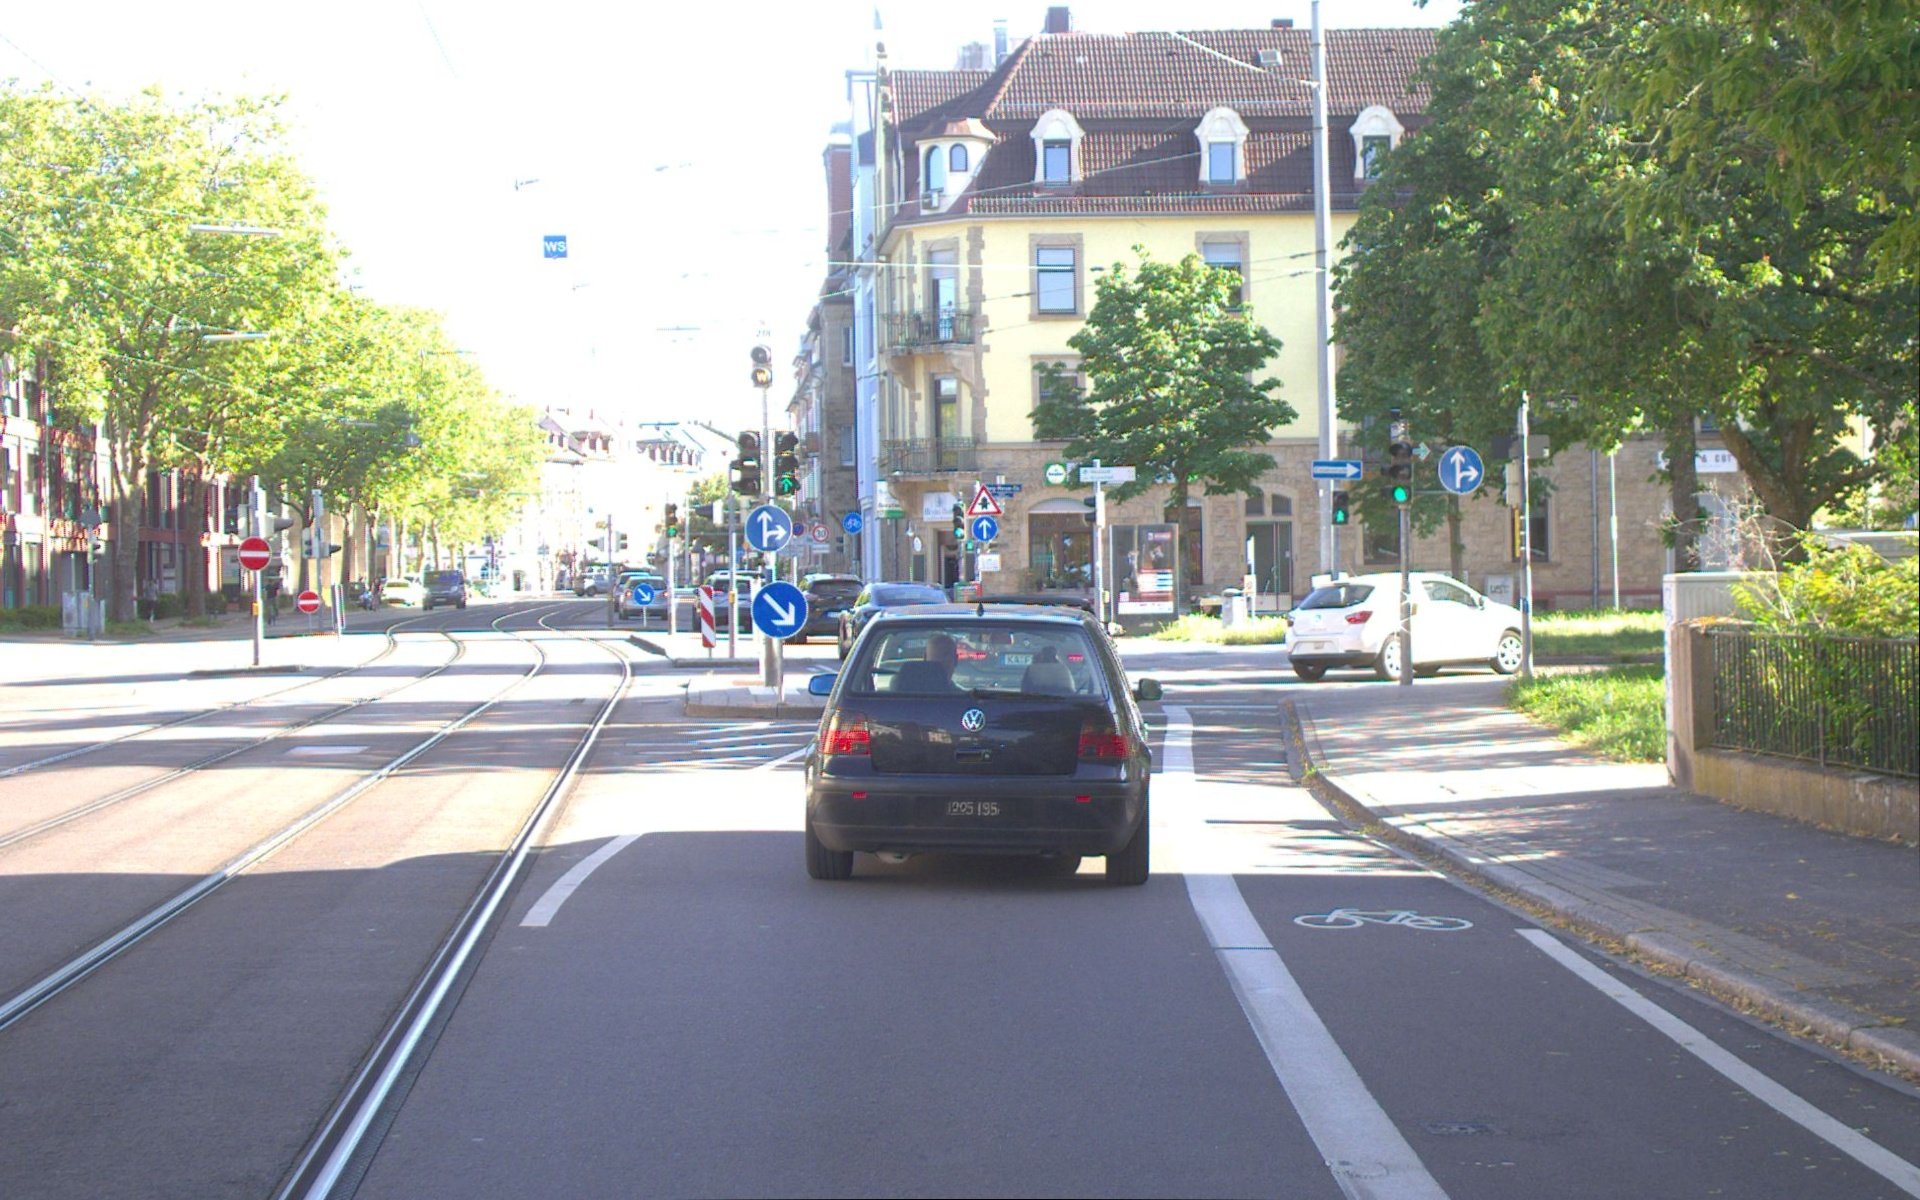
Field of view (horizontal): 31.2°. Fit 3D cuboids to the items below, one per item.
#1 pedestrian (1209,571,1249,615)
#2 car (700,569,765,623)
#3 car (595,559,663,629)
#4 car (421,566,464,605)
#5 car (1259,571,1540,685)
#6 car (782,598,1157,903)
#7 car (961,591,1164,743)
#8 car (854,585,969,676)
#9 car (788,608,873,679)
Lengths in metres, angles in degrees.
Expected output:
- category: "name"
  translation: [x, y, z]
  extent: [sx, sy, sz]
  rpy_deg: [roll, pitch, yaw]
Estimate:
- category: "pedestrian"
  translation: [7.394, -0.200, 94.472]
  extent: [0.979, 1.183, 0.743]
  rpy_deg: [-1, 0, -5]
- category: "car"
  translation: [-6.376, -0.128, 96.124]
  extent: [1.680, 1.448, 3.380]
  rpy_deg: [-1, 0, -6]
- category: "car"
  translation: [-9.181, -0.175, 95.238]
  extent: [1.787, 1.853, 4.001]
  rpy_deg: [1, 0, -6]
- category: "car"
  translation: [-24.912, -0.703, 165.581]
  extent: [1.971, 1.809, 4.298]
  rpy_deg: [-1, 0, -9]
- category: "car"
  translation: [6.033, 0.361, 47.022]
  extent: [3.799, 1.436, 1.744]
  rpy_deg: [-1, 1, -42]
- category: "car"
  translation: [0.156, 0.705, 18.184]
  extent: [1.716, 1.398, 4.005]
  rpy_deg: [1, 0, 4]
- category: "car"
  translation: [0.963, 0.619, 34.107]
  extent: [1.634, 1.368, 3.758]
  rpy_deg: [-1, 1, -4]
- category: "car"
  translation: [-0.848, 0.490, 58.512]
  extent: [1.569, 1.306, 3.648]
  rpy_deg: [-1, 3, -7]
- category: "car"
  translation: [-2.857, 0.932, 75.343]
  extent: [1.569, 1.306, 3.501]
  rpy_deg: [-1, 3, -7]
